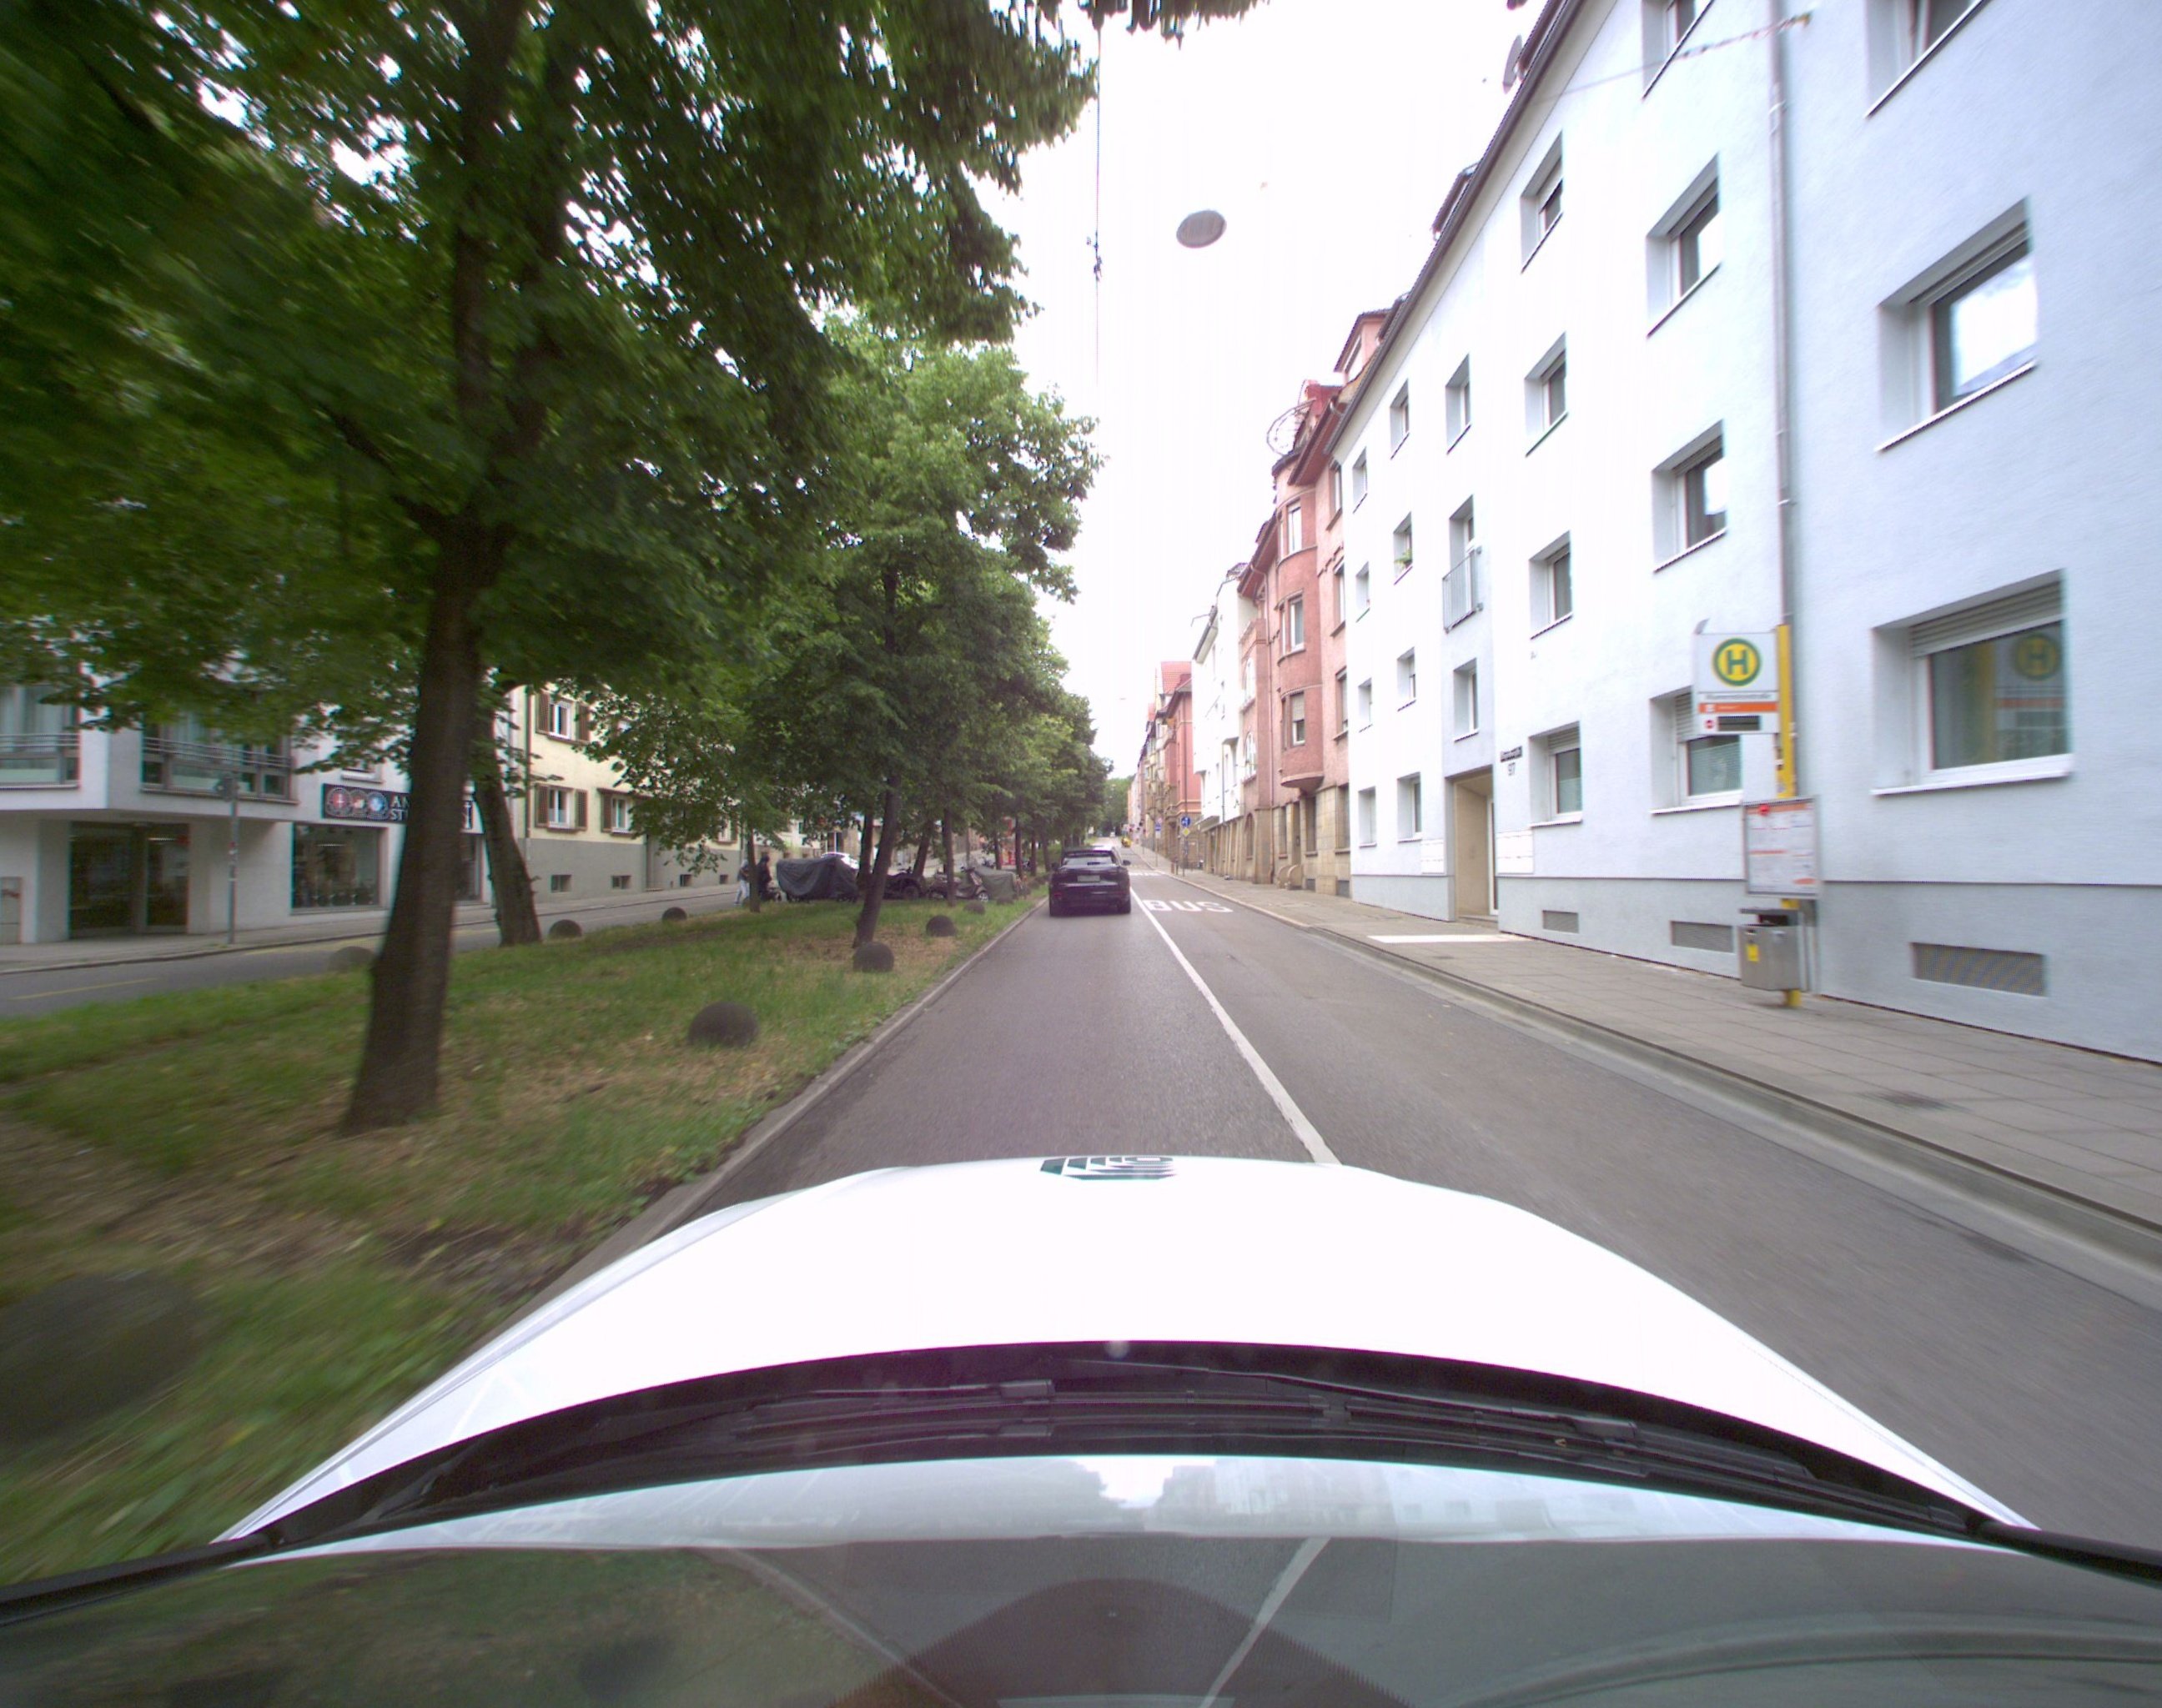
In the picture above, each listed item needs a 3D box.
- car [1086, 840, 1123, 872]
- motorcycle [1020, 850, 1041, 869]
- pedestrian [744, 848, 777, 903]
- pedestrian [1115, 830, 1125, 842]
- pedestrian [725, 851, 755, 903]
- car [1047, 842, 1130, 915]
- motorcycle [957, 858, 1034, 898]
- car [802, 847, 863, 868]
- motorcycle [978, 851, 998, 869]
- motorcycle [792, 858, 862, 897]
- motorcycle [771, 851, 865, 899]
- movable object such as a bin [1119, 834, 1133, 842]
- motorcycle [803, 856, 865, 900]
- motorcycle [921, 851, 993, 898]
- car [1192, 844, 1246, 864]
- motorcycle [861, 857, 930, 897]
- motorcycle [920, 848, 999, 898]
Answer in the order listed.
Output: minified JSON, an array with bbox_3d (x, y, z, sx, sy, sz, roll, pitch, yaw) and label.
[{"bbox_3d":[1.373,0.100,46.806,1.986,1.753,4.002,-1,1,2],"label":"car"},{"bbox_3d":[-3.142,0.317,50.888,1.058,1.148,2.449,-1,1,2],"label":"motorcycle"},{"bbox_3d":[-9.645,0.644,24.527,0.631,1.613,0.766,0,1,8],"label":"pedestrian"},{"bbox_3d":[6.269,-2.883,130.325,1.310,2.013,1.009,-1,0,-32],"label":"pedestrian"},{"bbox_3d":[-10.746,0.710,25.659,0.660,1.616,0.580,0,1,3],"label":"pedestrian"},{"bbox_3d":[0.175,0.548,20.933,1.897,1.666,4.135,-1,1,0],"label":"car"},{"bbox_3d":[-2.742,0.770,26.434,2.348,1.235,1.033,-1,1,0],"label":"motorcycle"},{"bbox_3d":[-18.827,0.253,61.838,3.972,1.497,2.001,-1,1,1],"label":"car"},{"bbox_3d":[-5.806,0.377,50.811,0.897,1.107,2.252,-1,-1,2],"label":"motorcycle"},{"bbox_3d":[-8.569,0.799,27.526,2.123,1.235,0.623,-2,-1,1],"label":"motorcycle"},{"bbox_3d":[-7.611,0.585,23.675,2.374,1.317,1.046,-1,1,0],"label":"motorcycle"},{"bbox_3d":[7.120,-2.516,129.452,1.247,1.274,1.825,-1,1,-40],"label":"movable object such as a bin"},{"bbox_3d":[-7.963,0.755,26.258,1.757,1.338,0.624,-2,0,0],"label":"motorcycle"},{"bbox_3d":[-3.586,0.583,23.657,1.918,1.297,0.893,-1,-1,-1],"label":"motorcycle"},{"bbox_3d":[10.385,-0.043,61.058,4.023,1.376,1.976,-2,1,-43],"label":"car"},{"bbox_3d":[-6.141,0.759,27.010,2.018,1.235,0.898,-1,1,6],"label":"motorcycle"},{"bbox_3d":[-3.629,0.561,24.506,2.184,1.438,0.875,0,1,3],"label":"motorcycle"}]
